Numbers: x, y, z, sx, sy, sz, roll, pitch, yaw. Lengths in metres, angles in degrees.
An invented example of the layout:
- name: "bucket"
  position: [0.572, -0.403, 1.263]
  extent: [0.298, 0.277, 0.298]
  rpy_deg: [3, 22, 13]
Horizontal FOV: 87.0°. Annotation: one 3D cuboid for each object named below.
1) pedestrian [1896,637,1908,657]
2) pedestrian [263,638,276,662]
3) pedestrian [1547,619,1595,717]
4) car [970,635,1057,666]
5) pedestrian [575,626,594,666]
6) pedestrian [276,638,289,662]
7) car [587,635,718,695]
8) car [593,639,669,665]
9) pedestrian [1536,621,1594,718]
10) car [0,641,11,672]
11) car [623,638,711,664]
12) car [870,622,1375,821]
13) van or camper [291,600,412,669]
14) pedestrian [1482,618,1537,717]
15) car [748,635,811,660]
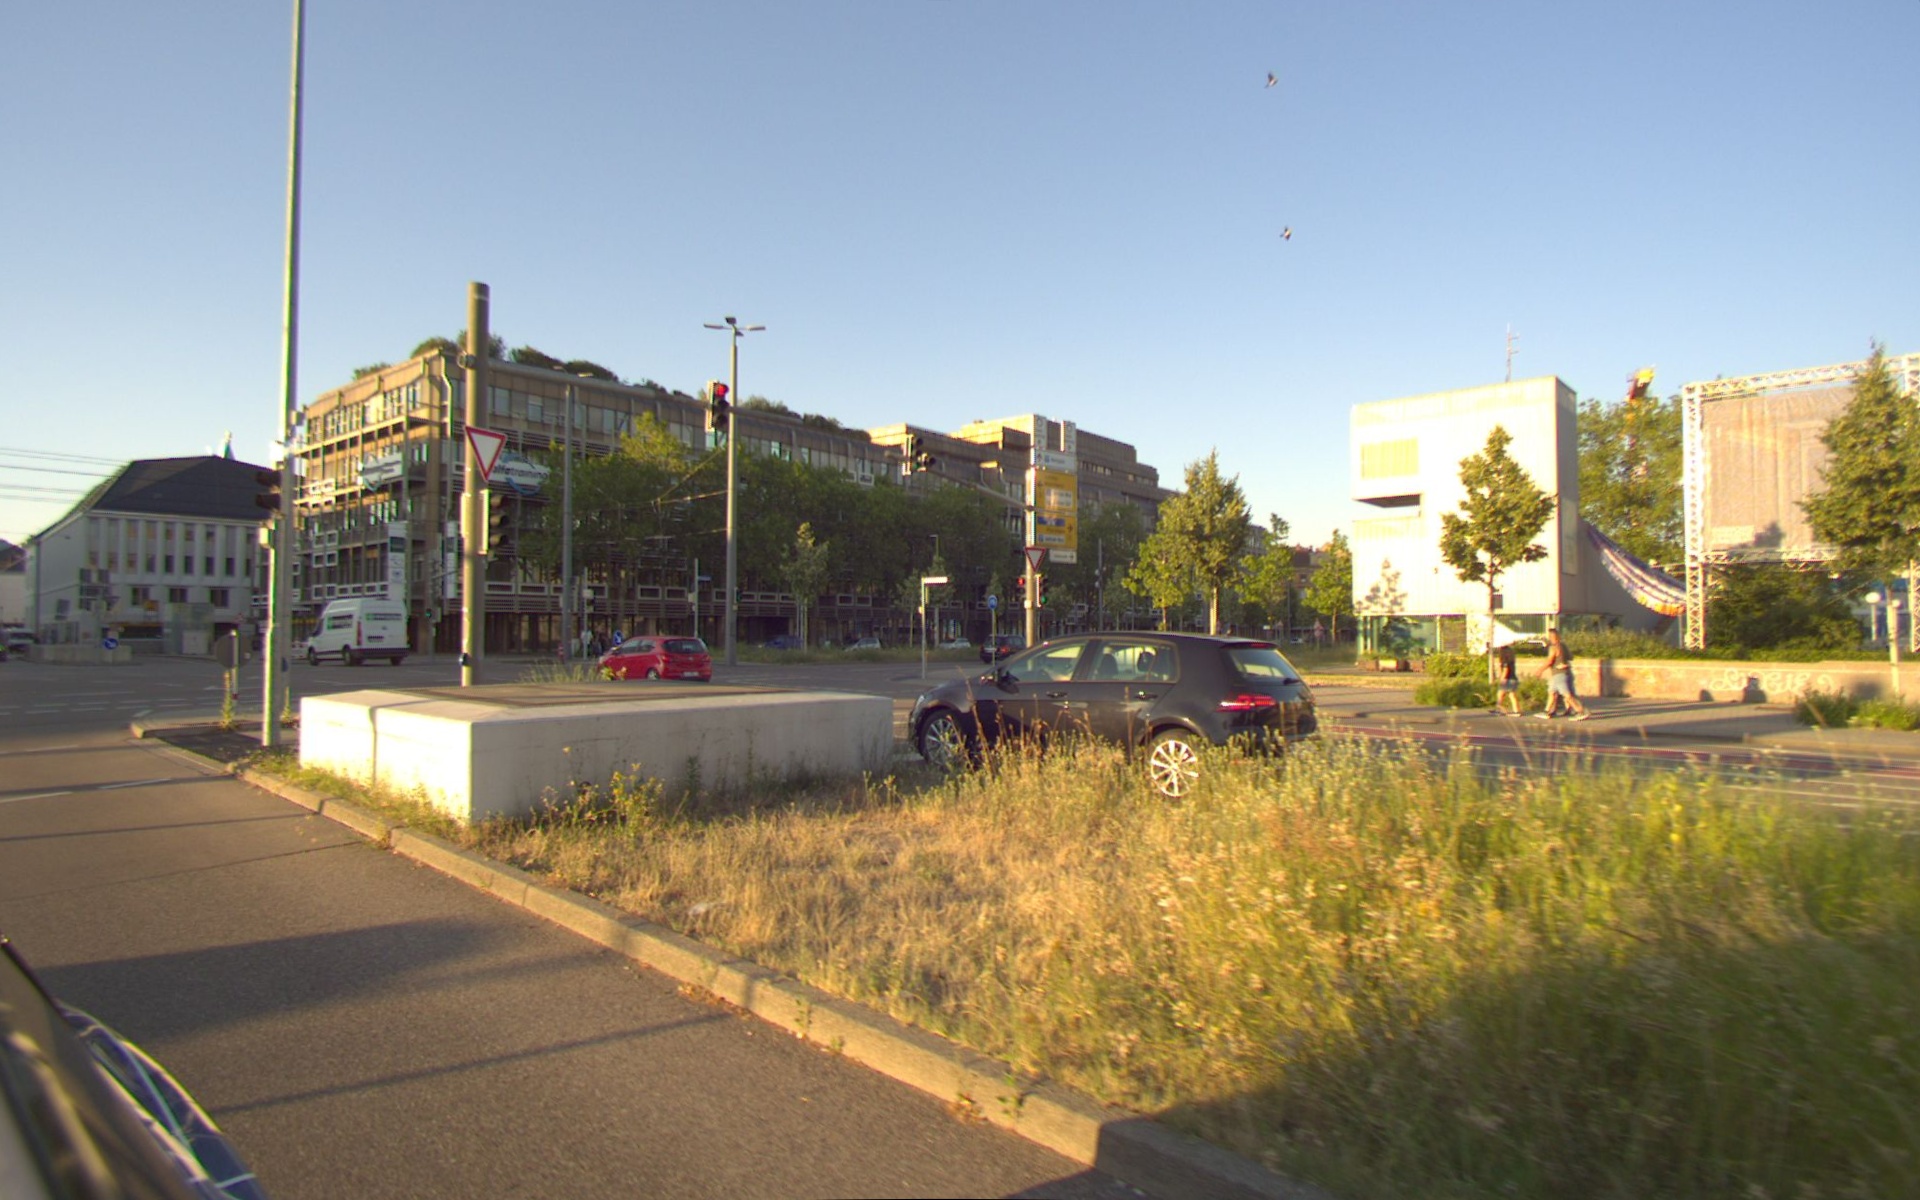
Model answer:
- name: "pedestrian"
  position: [68.660, 3.416, 73.764]
  extent: [0.381, 1.418, 0.572]
  rpy_deg: [-1, -2, 22]
- name: "pedestrian"
  position: [-50.348, 3.654, 73.833]
  extent: [0.682, 1.726, 0.637]
  rpy_deg: [-3, -4, 45]
- name: "pedestrian"
  position: [12.399, 1.363, 20.547]
  extent: [0.648, 1.948, 0.652]
  rpy_deg: [-3, -4, 44]
- name: "car"
  position: [2.883, 2.648, 53.801]
  extent: [4.407, 1.564, 2.077]
  rpy_deg: [2, -2, -40]
- name: "pedestrian"
  position: [-18.402, 2.234, 49.608]
  extent: [0.680, 1.946, 0.636]
  rpy_deg: [-2, -3, 40]
- name: "pedestrian"
  position: [-49.778, 3.672, 74.383]
  extent: [0.650, 1.726, 0.642]
  rpy_deg: [-3, -4, 45]
- name: "car"
  position: [-8.673, 1.764, 28.427]
  extent: [3.997, 1.538, 1.618]
  rpy_deg: [-1, -2, 40]
- name: "car"
  position: [-21.293, 3.351, 65.593]
  extent: [1.857, 1.663, 4.341]
  rpy_deg: [-3, -3, 40]
- name: "pedestrian"
  position: [11.836, 1.336, 19.804]
  extent: [0.776, 1.851, 0.862]
  rpy_deg: [-2, -3, 44]
- name: "car"
  position: [-55.139, 3.171, 57.156]
  extent: [4.001, 1.663, 2.043]
  rpy_deg: [-2, -3, 44]
- name: "car"
  position: [-18.477, 3.201, 64.090]
  extent: [2.000, 1.597, 5.091]
  rpy_deg: [-2, -3, 42]
- name: "car"
  position: [1.362, 0.972, 9.772]
  extent: [4.536, 1.477, 1.866]
  rpy_deg: [-2, -3, 42]
- name: "van or camper"
  position: [-25.398, 1.470, 42.177]
  extent: [6.153, 2.687, 2.205]
  rpy_deg: [-2, -3, 37]
- name: "pedestrian"
  position: [11.146, 1.357, 20.535]
  extent: [0.776, 1.948, 0.624]
  rpy_deg: [-3, -2, 44]
- name: "car"
  position: [-12.620, 3.320, 70.774]
  extent: [2.072, 1.663, 3.945]
  rpy_deg: [-2, -3, 41]
